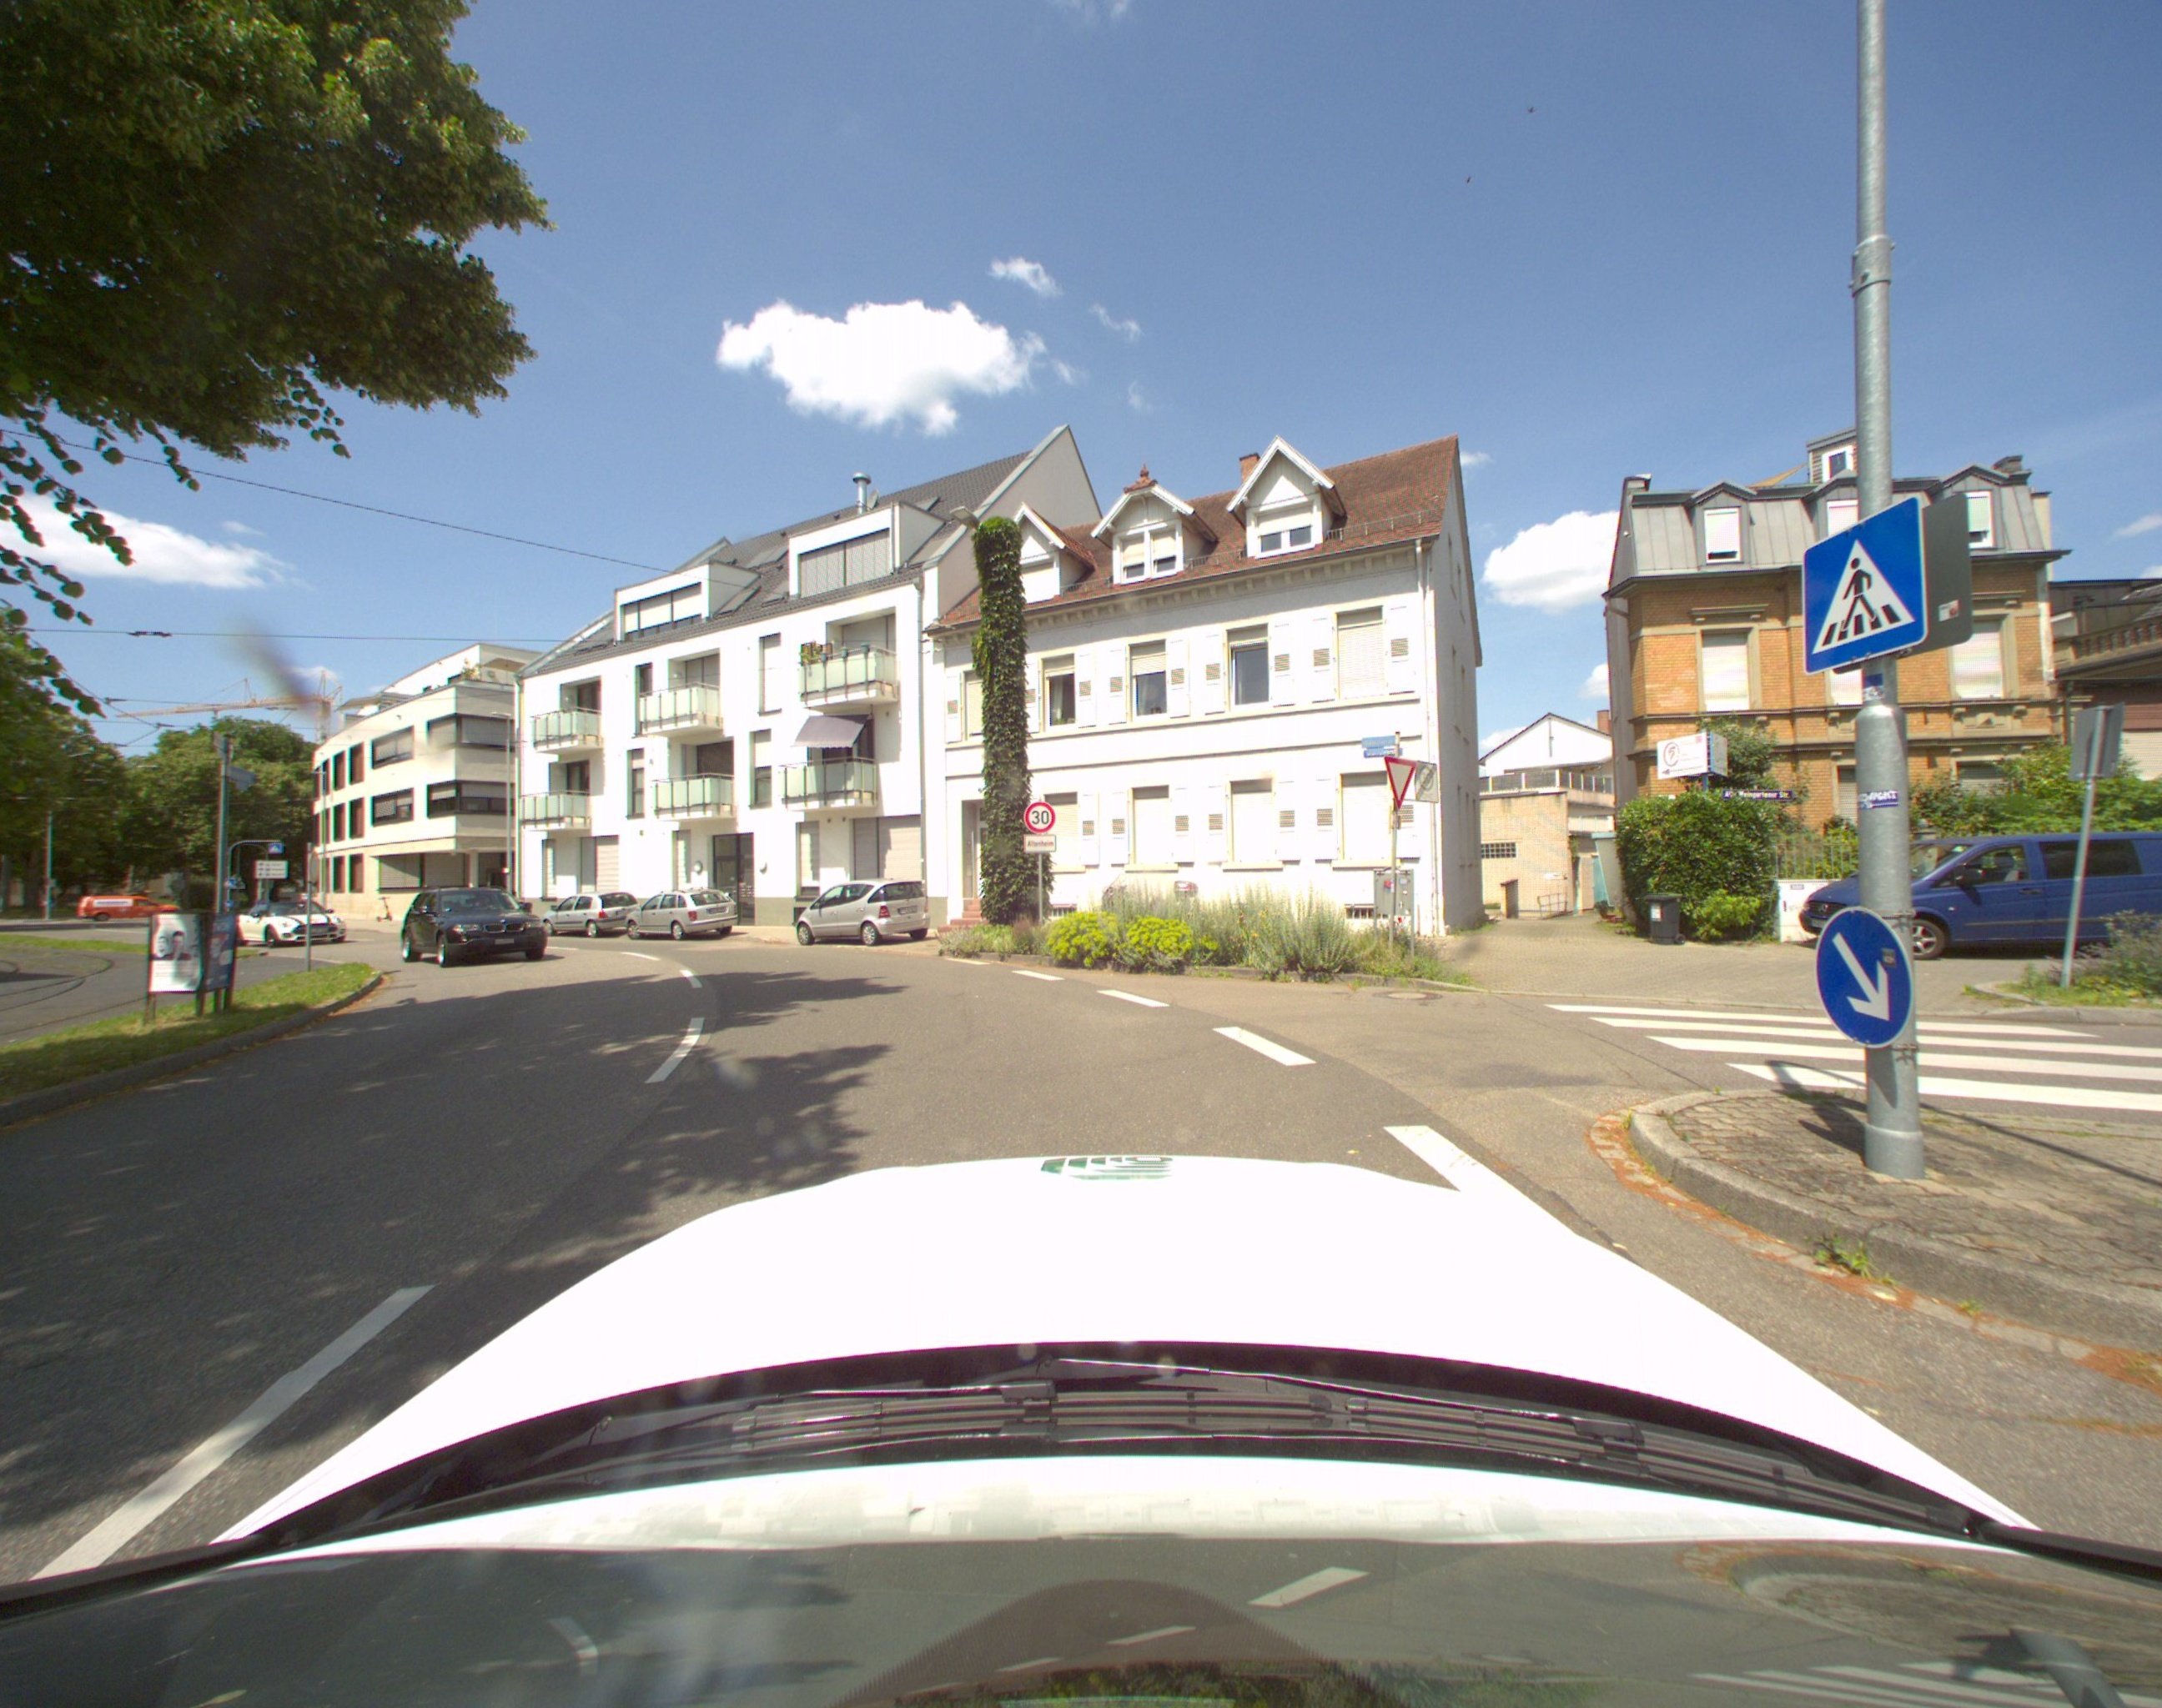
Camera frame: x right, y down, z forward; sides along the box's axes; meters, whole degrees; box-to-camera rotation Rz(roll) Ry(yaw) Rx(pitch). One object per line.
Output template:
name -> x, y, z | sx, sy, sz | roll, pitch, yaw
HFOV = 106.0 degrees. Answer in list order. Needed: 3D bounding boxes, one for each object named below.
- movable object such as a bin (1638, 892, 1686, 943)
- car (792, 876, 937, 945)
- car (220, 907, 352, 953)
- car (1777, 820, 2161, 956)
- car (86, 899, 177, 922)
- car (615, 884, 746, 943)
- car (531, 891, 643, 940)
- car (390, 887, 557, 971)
movable object such as a bin -> 10.641, 1.152, 14.921 | 0.420, 0.916, 0.556 | 2, -3, -19
car -> -5.484, 1.359, 20.465 | 3.571, 1.587, 1.594 | -1, -3, 36
car -> -25.348, 2.366, 25.953 | 3.949, 1.244, 1.797 | -1, -3, 27
car -> 14.783, 0.517, 12.993 | 5.187, 1.947, 2.091 | -2, 0, 14
car -> -67.881, 4.013, 58.295 | 1.630, 1.527, 4.092 | -1, -3, 37
car -> -11.982, 1.716, 24.321 | 3.858, 1.465, 1.672 | -1, 3, 33
car -> -16.177, 1.980, 26.662 | 3.460, 1.357, 1.431 | -1, 3, 27
car -> -13.336, 1.579, 17.785 | 4.339, 1.552, 1.906 | -3, -2, 39
